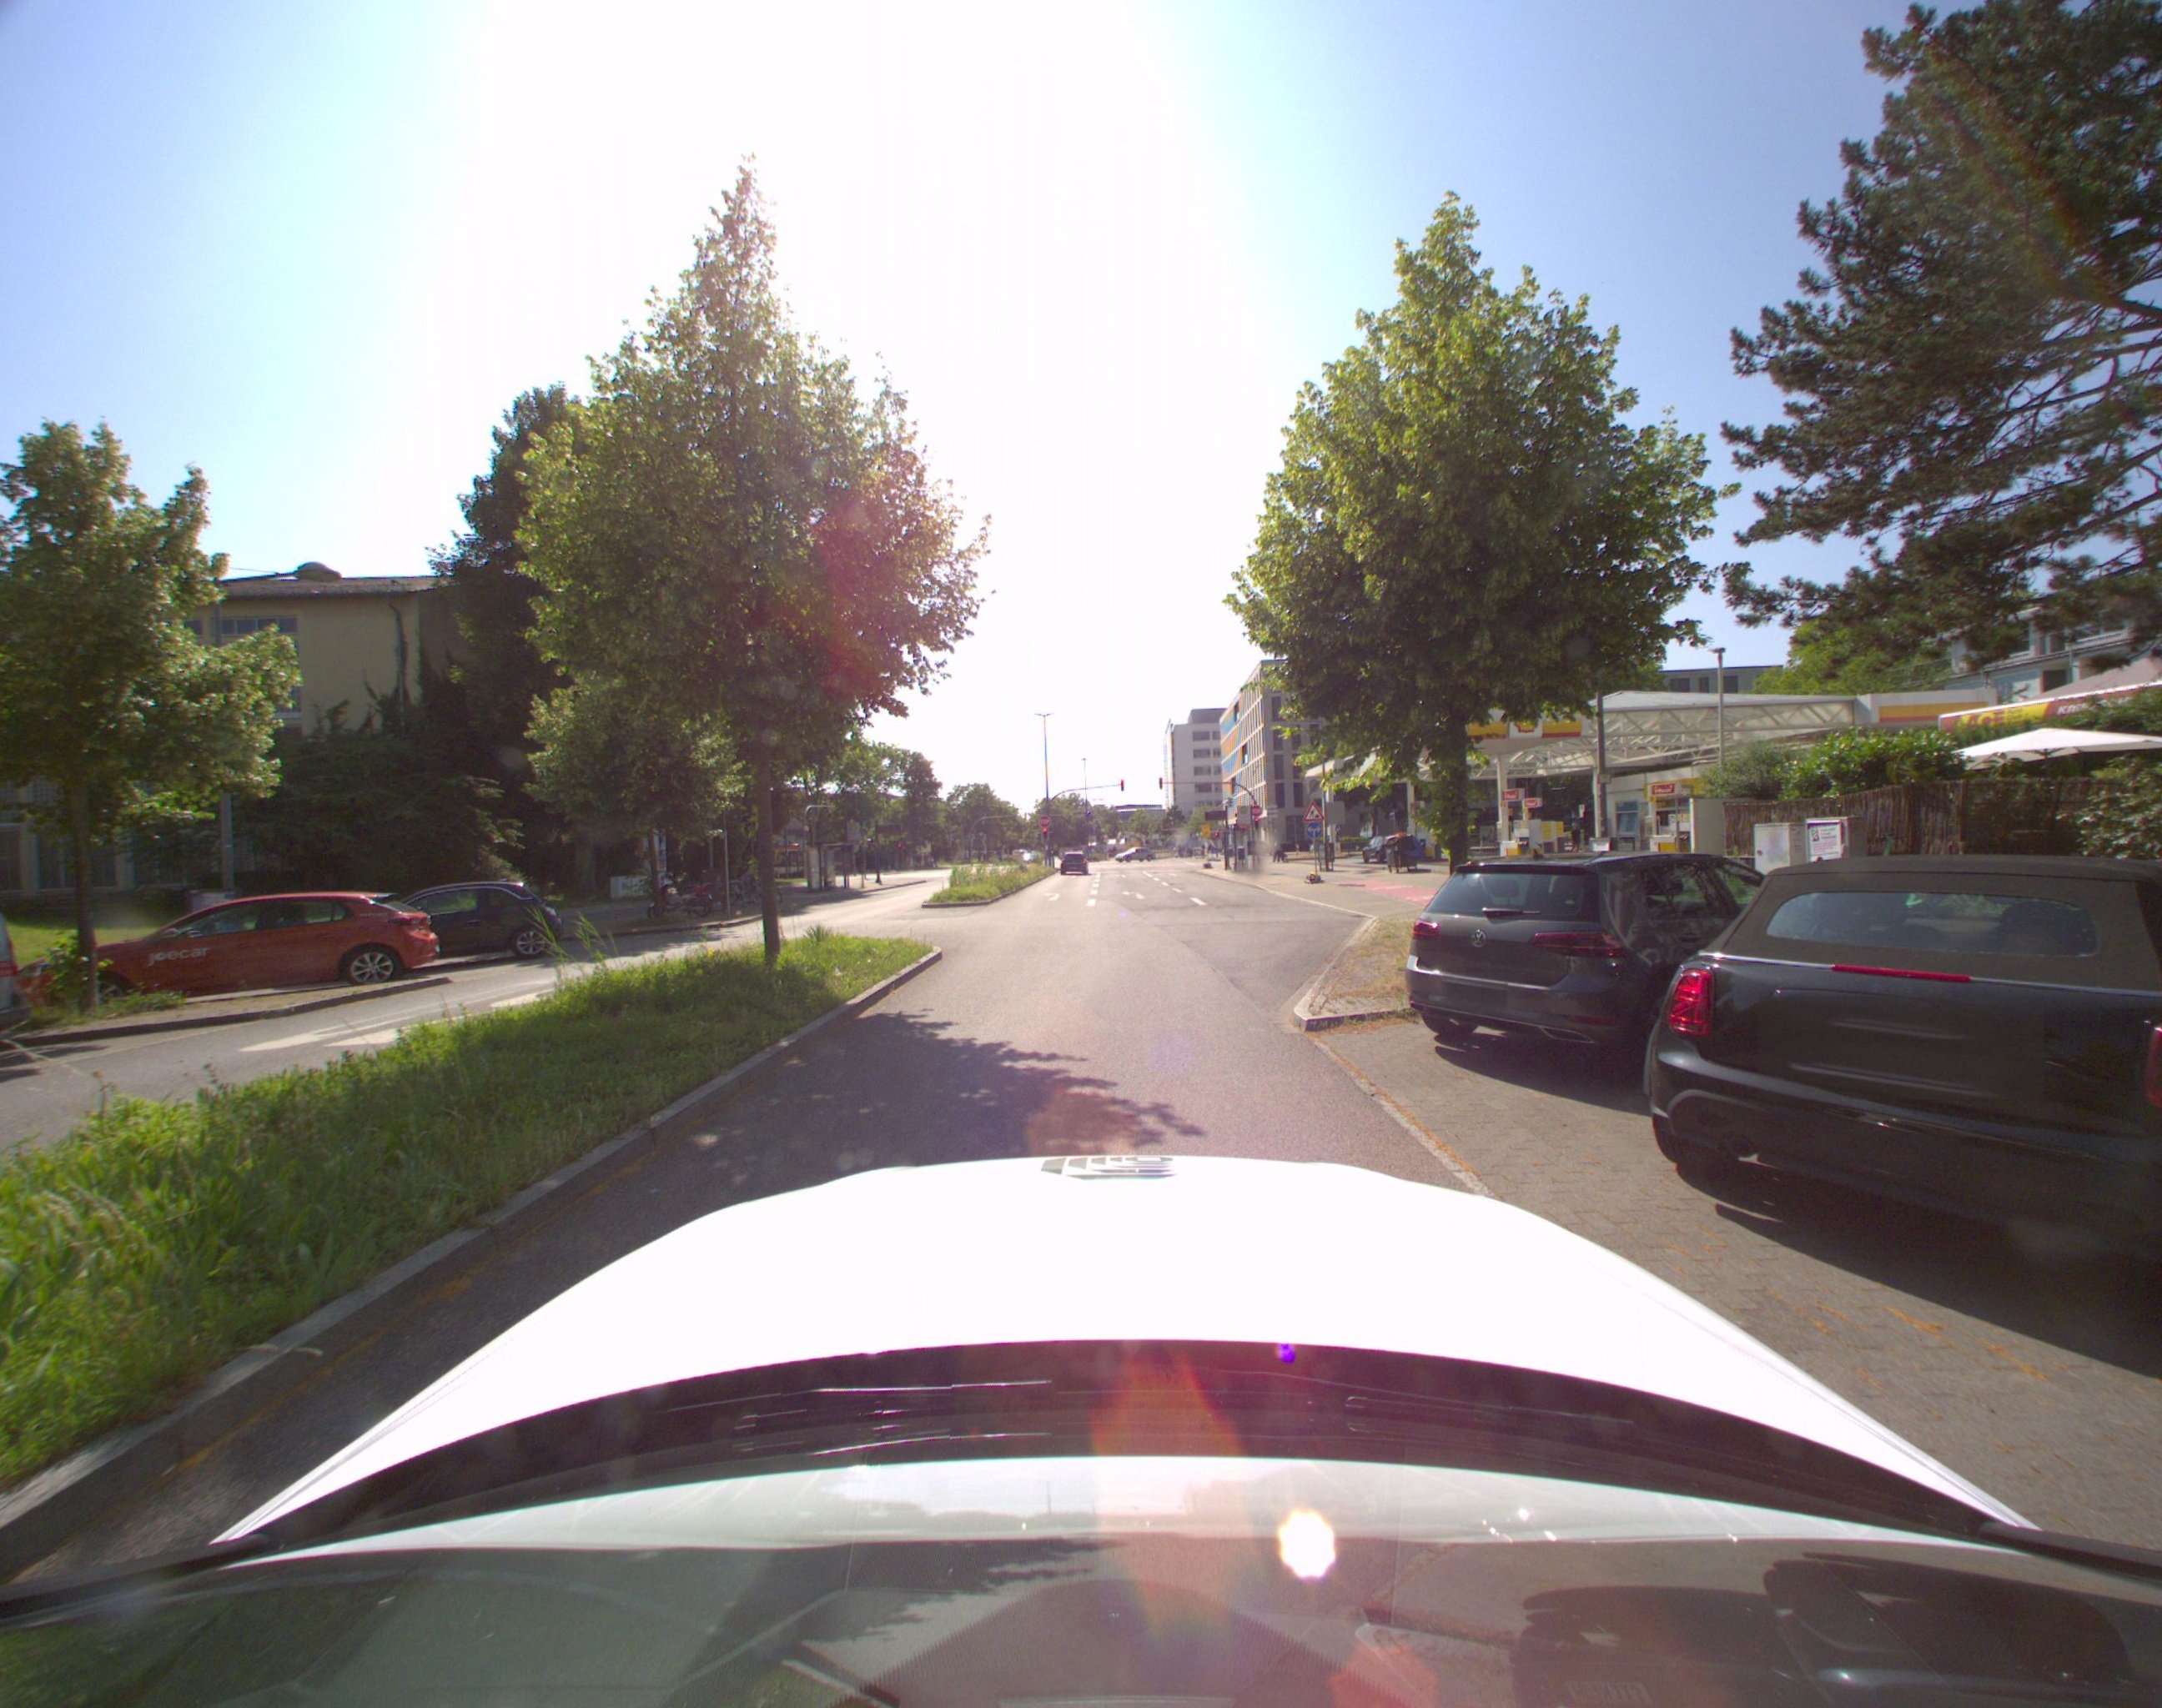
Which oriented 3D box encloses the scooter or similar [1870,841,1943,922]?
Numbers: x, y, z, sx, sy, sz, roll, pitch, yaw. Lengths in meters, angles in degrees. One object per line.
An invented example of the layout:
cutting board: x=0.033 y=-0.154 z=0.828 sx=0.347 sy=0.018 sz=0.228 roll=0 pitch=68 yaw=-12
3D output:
scooter or similar: x=12.486 y=0.395 z=12.342 sx=0.229 sy=1.166 sz=0.960 roll=-2 pitch=0 yaw=9

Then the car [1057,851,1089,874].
car: x=-0.537 y=0.509 z=52.889 sx=1.988 sy=1.398 sz=3.998 roll=-2 pitch=0 yaw=-1

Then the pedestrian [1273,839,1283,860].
pedestrian: x=14.965 y=-0.333 z=61.901 sx=0.616 sy=1.543 sz=0.461 roll=-2 pitch=0 yaw=1

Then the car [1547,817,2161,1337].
car: x=4.269 y=0.590 z=4.106 sx=4.017 sy=1.473 sz=1.750 roll=-2 pitch=0 yaw=-35

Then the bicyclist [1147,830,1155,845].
bicyclist: x=11.547 y=-2.723 z=134.378 sx=1.063 sy=2.574 sz=0.829 roll=-1 pitch=0 yaw=7

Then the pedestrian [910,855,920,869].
pedestrian: x=-19.593 y=0.928 z=96.049 sx=0.648 sy=1.611 sz=0.947 roll=-2 pitch=0 yaw=25

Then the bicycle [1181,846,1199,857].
bicycle: x=13.346 y=-0.278 z=99.800 sx=2.215 sy=1.285 sz=0.526 roll=-2 pitch=0 yaw=9

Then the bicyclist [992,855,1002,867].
bicyclist: x=-9.808 y=0.801 z=94.827 sx=1.052 sy=1.275 sz=0.491 roll=-2 pitch=0 yaw=-9

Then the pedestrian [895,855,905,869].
pedestrian: x=-21.260 y=0.992 z=95.696 sx=0.648 sy=1.611 sz=0.947 roll=-2 pitch=0 yaw=25

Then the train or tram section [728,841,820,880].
train or tram section: x=-29.542 y=0.611 z=78.648 sx=7.531 sy=3.332 sz=3.119 roll=-2 pitch=0 yaw=0

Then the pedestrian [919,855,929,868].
pedestrian: x=-18.621 y=0.891 z=96.693 sx=0.660 sy=1.611 sz=0.947 roll=-2 pitch=0 yaw=25

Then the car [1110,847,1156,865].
car: x=5.373 y=0.164 z=84.227 sx=4.408 sy=1.638 sz=1.981 roll=-3 pitch=0 yaw=-29

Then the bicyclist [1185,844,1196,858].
bicyclist: x=13.396 y=-0.381 z=99.804 sx=1.232 sy=1.673 sz=0.526 roll=-2 pitch=0 yaw=10

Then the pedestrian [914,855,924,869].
pedestrian: x=-18.921 y=0.903 z=95.234 sx=0.648 sy=1.611 sz=0.947 roll=-2 pitch=0 yaw=25

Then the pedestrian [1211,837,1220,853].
pedestrian: x=16.244 y=-1.085 z=98.463 sx=0.770 sy=2.013 sz=0.782 roll=-2 pitch=0 yaw=30

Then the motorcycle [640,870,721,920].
motorcycle: x=-11.088 y=1.113 z=22.571 sx=1.842 sy=1.284 sz=0.692 roll=-2 pitch=0 yaw=-5

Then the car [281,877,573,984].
car: x=-11.417 y=1.249 z=14.485 sx=3.794 sy=1.423 sz=1.834 roll=-3 pitch=0 yaw=-39

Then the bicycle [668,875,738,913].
bicycle: x=-11.789 y=1.232 z=25.412 sx=1.838 sy=1.092 sz=0.693 roll=-2 pitch=0 yaw=2

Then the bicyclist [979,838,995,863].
bicyclist: x=-11.593 y=-0.424 z=100.442 sx=1.594 sy=2.931 sz=2.354 roll=-2 pitch=0 yaw=2

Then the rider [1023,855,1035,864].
rider: x=-6.902 y=0.746 z=107.971 sx=1.387 sy=1.196 sz=2.697 roll=-2 pitch=0 yaw=-1

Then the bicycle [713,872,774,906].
bicycle: x=-12.015 y=1.239 z=29.040 sx=1.838 sy=1.106 sz=0.693 roll=-2 pitch=0 yaw=2

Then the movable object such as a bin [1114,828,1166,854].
movable object such as a bin: x=11.231 y=-2.533 z=155.401 sx=9.634 sy=4.549 sz=3.167 roll=-2 pitch=0 yaw=3

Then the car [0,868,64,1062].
car: x=-11.560 y=1.075 z=6.544 sx=3.786 sy=1.772 sz=1.802 roll=-2 pitch=0 yaw=-30

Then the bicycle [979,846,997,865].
bicycle: x=-11.551 y=0.163 z=101.253 sx=1.593 sy=2.269 sz=4.002 roll=-2 pitch=0 yaw=2

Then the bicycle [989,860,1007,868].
bicycle: x=-9.669 y=1.129 z=94.838 sx=1.999 sy=0.883 sz=0.525 roll=-2 pitch=0 yaw=-10

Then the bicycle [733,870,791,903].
bicycle: x=-11.868 y=1.203 z=30.351 sx=1.838 sy=1.122 sz=0.693 roll=-2 pitch=0 yaw=2

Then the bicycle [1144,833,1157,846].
bicycle: x=11.513 y=-2.405 z=134.390 sx=2.076 sy=1.962 sz=0.829 roll=-1 pitch=0 yaw=7

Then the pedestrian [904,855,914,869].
pedestrian: x=-20.334 y=0.955 z=96.078 sx=0.648 sy=1.611 sz=0.947 roll=-2 pitch=0 yaw=25

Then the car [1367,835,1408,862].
car: x=17.430 y=-0.298 z=46.386 sx=1.639 sy=1.398 sz=3.654 roll=-2 pitch=0 yaw=12

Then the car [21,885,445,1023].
car: x=-11.571 y=1.269 z=11.558 sx=3.858 sy=1.423 sz=1.697 roll=-2 pitch=0 yaw=-34

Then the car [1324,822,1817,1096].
car: x=4.125 y=0.564 z=6.651 sx=4.136 sy=1.530 sz=1.978 roll=-2 pitch=0 yaw=-36

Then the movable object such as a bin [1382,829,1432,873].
movable object such as a bin: x=12.936 y=-0.115 z=32.374 sx=1.304 sy=1.592 sz=1.395 roll=-5 pitch=0 yaw=-1

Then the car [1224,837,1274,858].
car: x=18.030 y=-0.704 z=87.475 sx=4.839 sy=2.013 sz=1.999 roll=-2 pitch=0 yaw=-1

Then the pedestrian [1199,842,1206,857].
pedestrian: x=14.980 y=-0.546 z=100.354 sx=0.528 sy=1.771 sz=0.717 roll=-2 pitch=0 yaw=-11
